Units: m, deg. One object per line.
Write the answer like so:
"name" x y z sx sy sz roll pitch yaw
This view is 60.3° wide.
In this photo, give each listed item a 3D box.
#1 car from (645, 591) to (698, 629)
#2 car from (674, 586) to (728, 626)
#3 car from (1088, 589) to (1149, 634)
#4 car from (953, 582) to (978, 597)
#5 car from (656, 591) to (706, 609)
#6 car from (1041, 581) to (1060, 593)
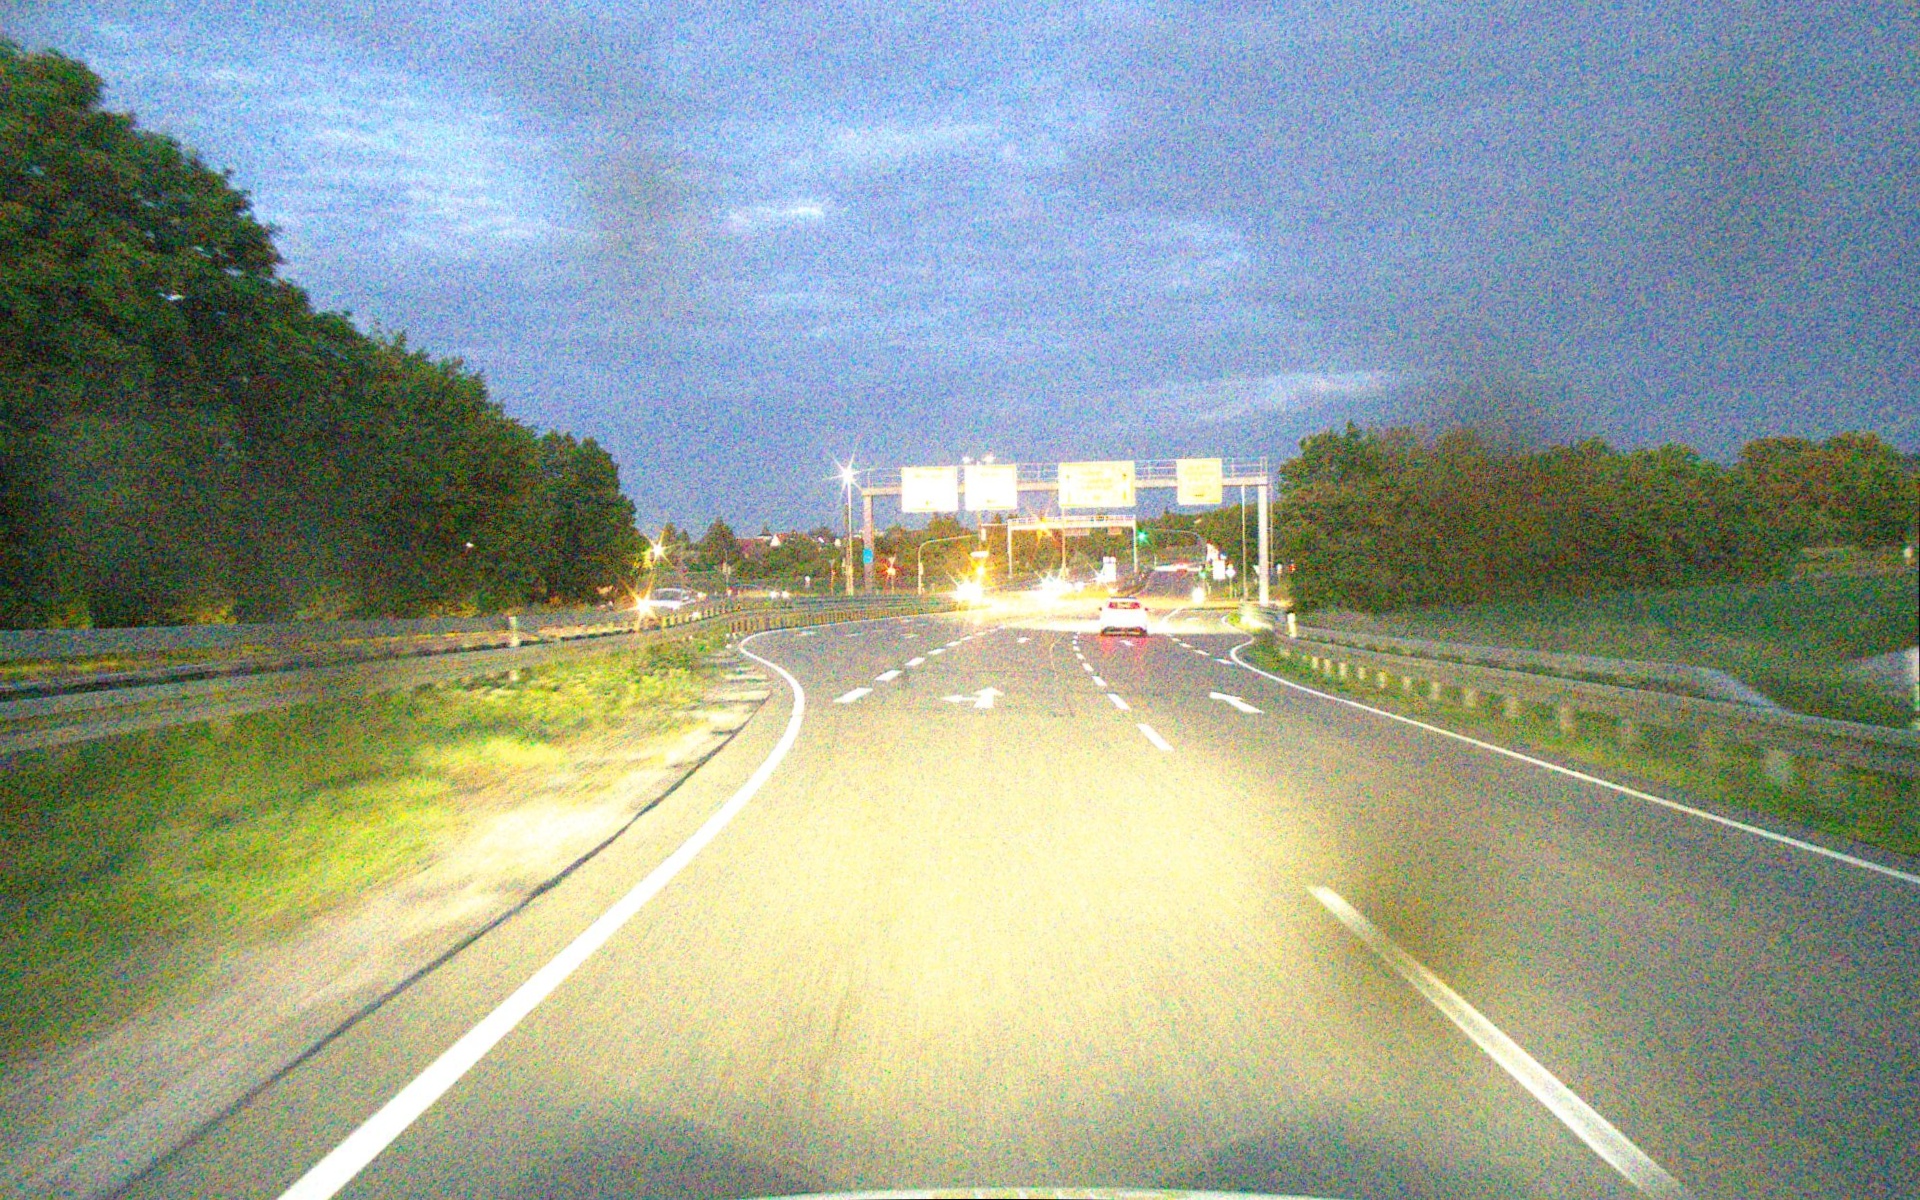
"car" -12.859 0.409 73.934 1.666 1.651 4.306 0 0 -1
"car" -10.377 0.221 66.473 1.659 1.560 3.998 0 1 -2
"car" 5.977 0.406 62.786 1.966 1.639 3.845 0 0 0
"car" 0.602 -1.096 171.078 1.951 1.450 4.536 0 1 9
"car" -24.103 0.021 143.070 3.903 1.499 1.730 -1 0 4
"car" 11.407 -1.671 207.963 1.951 1.507 4.686 0 1 9
